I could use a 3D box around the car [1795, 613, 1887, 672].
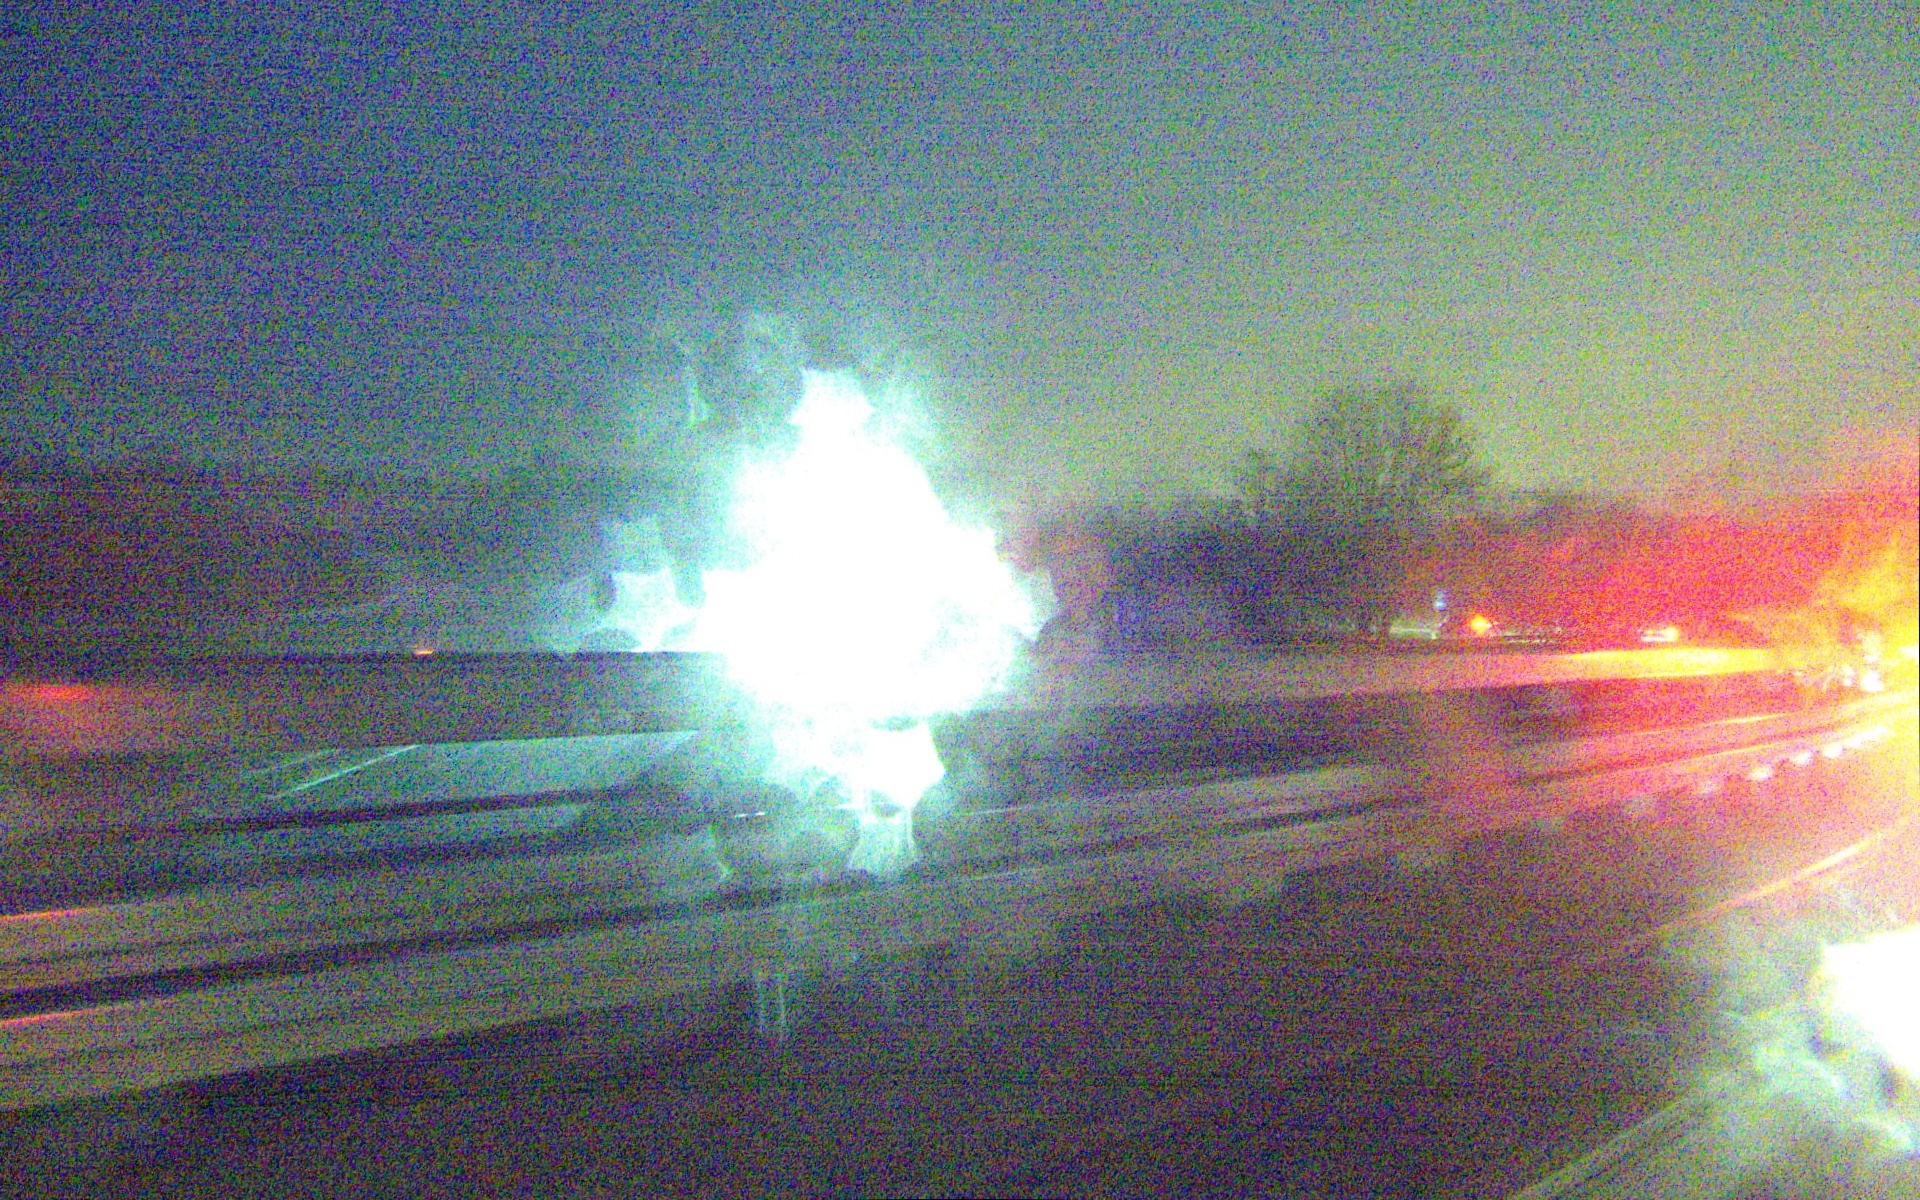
[{"bbox_3d":[34.025,1.627,38.917,1.868,2.067,4.038,2,-1,30],"label":"car"}]

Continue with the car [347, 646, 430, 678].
[{"bbox_3d":[-32.526,3.542,57.243,3.801,1.787,1.703,4,-5,-42],"label":"car"}]

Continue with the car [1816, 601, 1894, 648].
[{"bbox_3d":[41.677,1.153,46.868,1.868,2.067,4.038,2,-1,30],"label":"car"}]

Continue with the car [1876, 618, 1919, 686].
[{"bbox_3d":[26.405,1.397,27.133,1.870,1.743,4.033,2,0,35],"label":"car"}]
